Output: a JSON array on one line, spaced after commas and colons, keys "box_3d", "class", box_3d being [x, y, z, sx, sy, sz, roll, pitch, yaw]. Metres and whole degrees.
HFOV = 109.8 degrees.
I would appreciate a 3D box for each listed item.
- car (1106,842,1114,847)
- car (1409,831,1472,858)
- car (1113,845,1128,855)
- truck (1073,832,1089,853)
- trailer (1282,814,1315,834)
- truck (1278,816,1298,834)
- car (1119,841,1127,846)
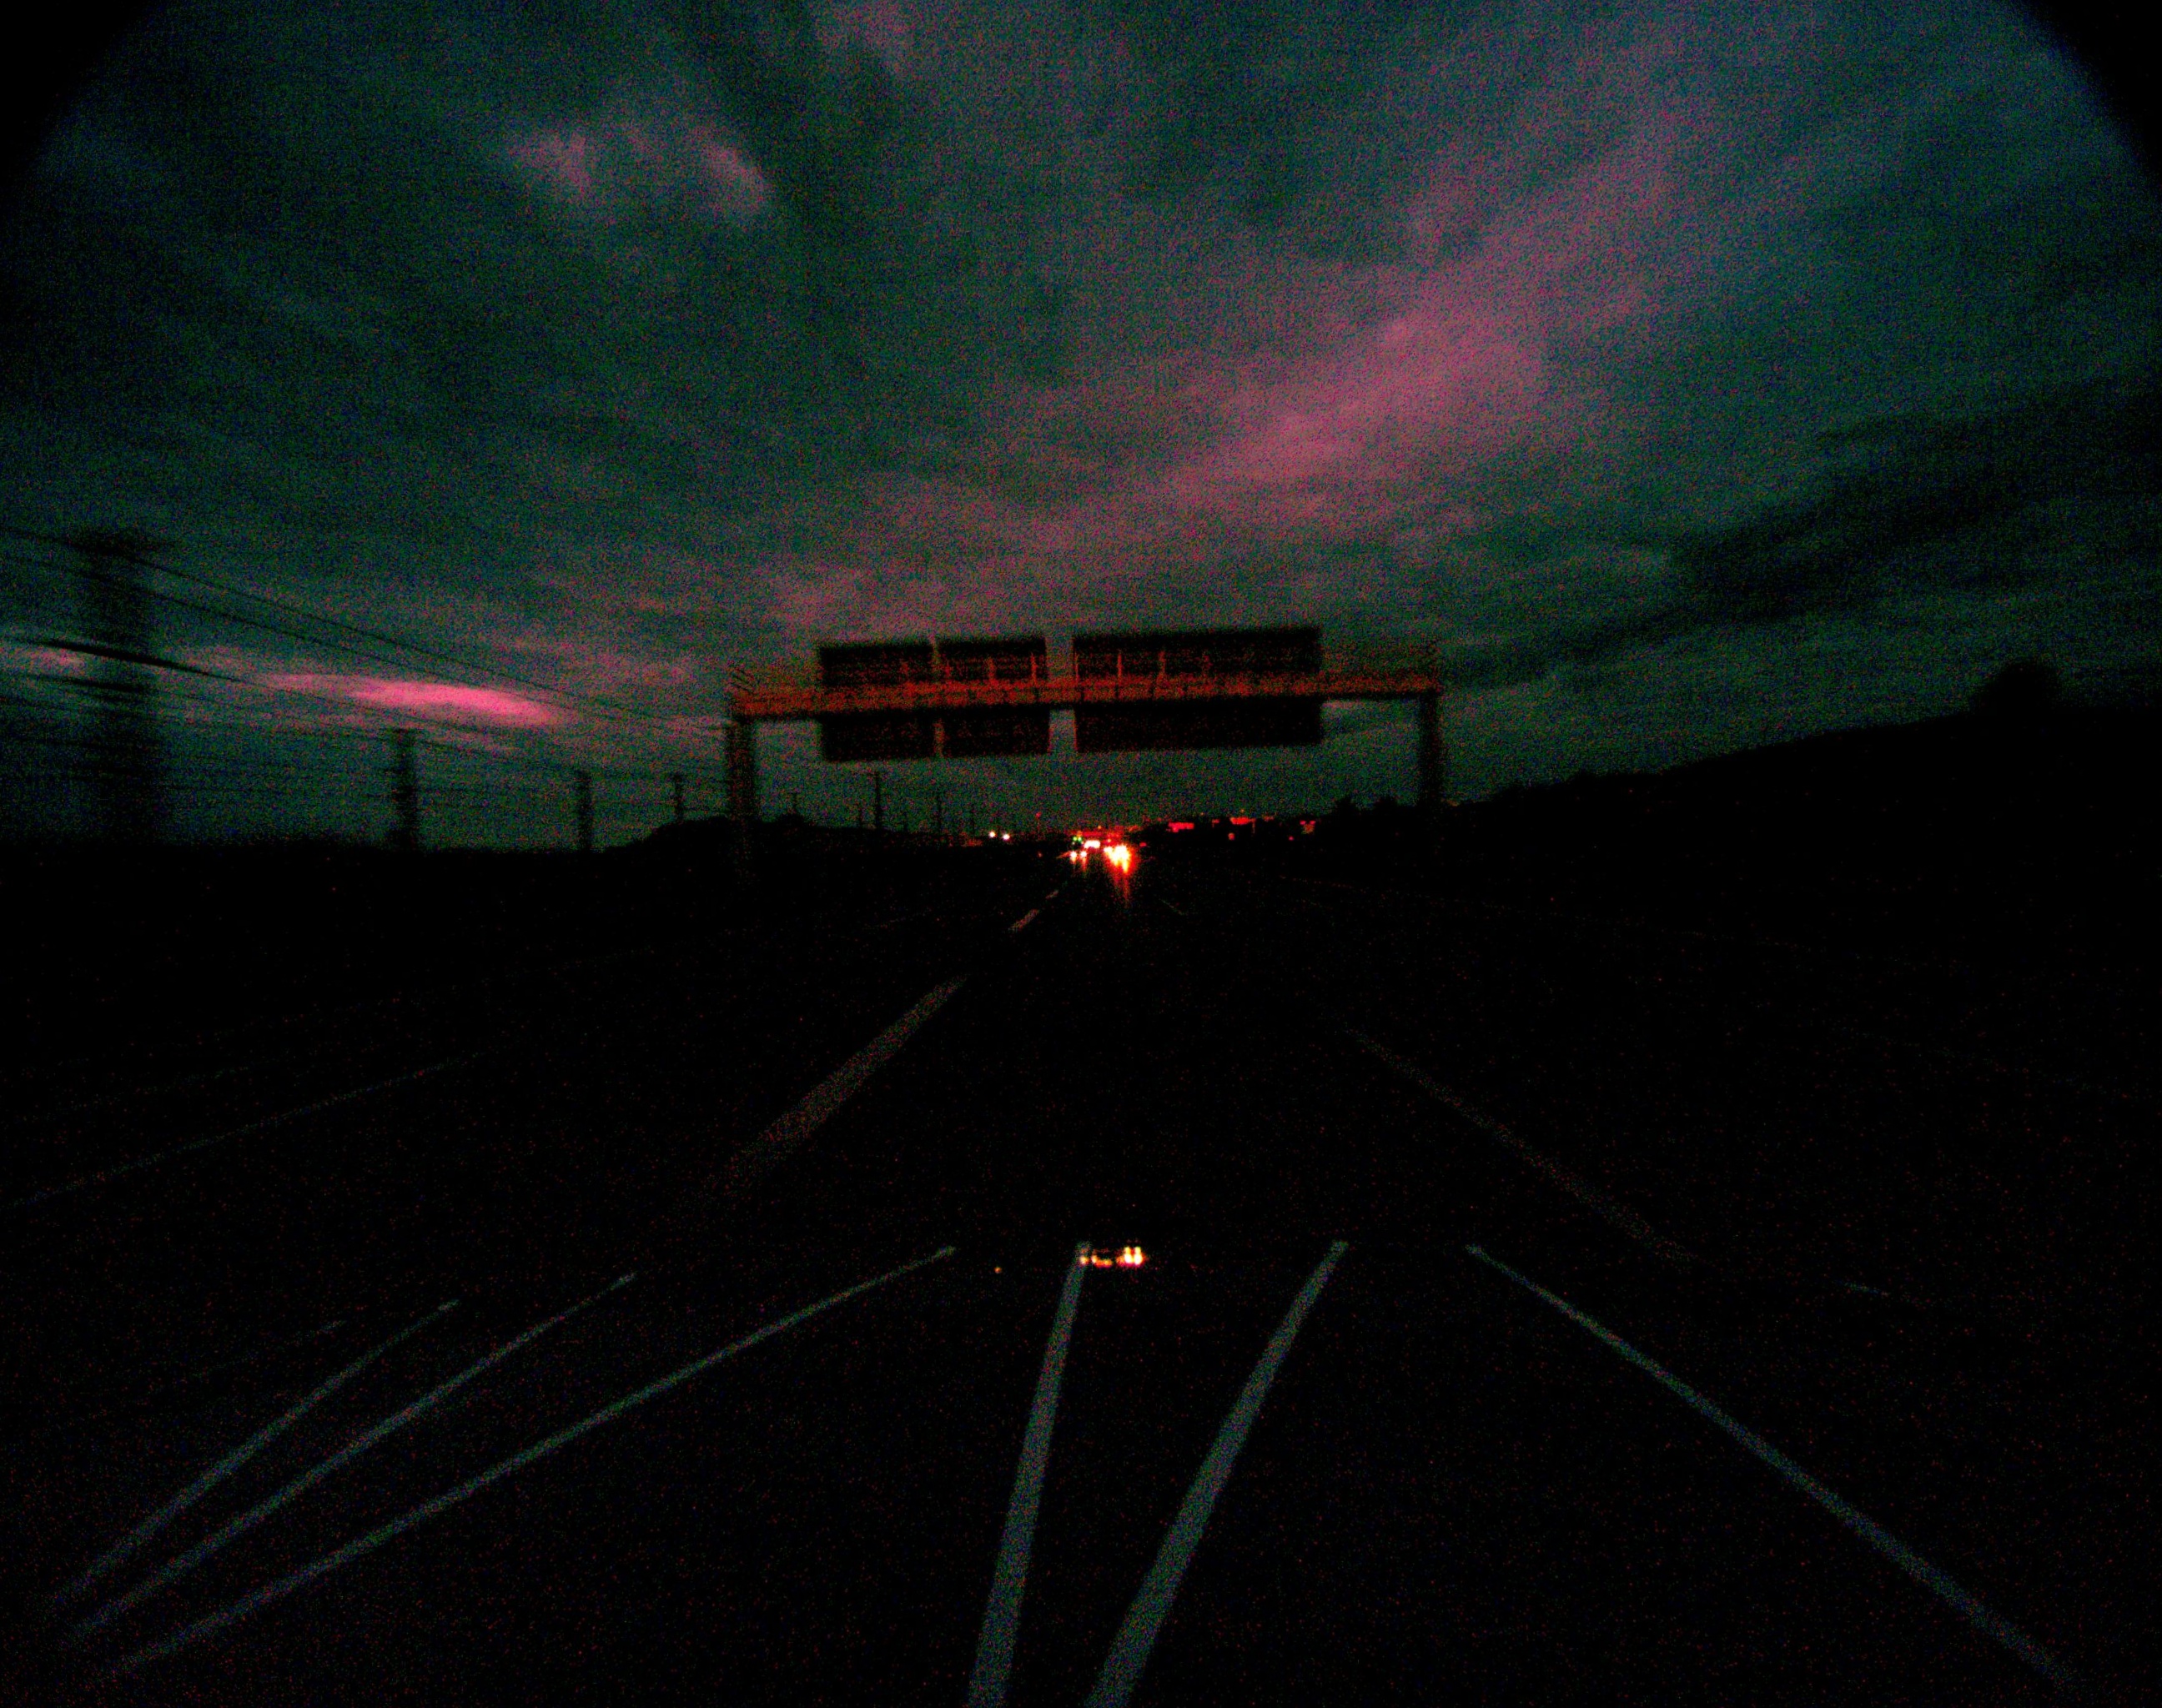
[{"box_3d": [8.141, -2.708, 214.160, 1.998, 1.342, 4.175, -3, 1, 1], "class": "car"}, {"box_3d": [21.469, -0.597, 45.554, 1.693, 1.393, 4.428, -4, 2, 1], "class": "car"}, {"box_3d": [5.700, -0.564, 109.922, 1.998, 1.342, 4.175, 2, 1, 1], "class": "car"}, {"box_3d": [0.047, -2.381, 160.649, 3.060, 4.047, 10.521, 0, -1, 1], "class": "truck"}, {"box_3d": [48.821, -6.668, 170.948, 2.698, 4.048, 12.485, -3, 1, -4], "class": "trailer"}, {"box_3d": [48.291, -6.751, 177.485, 2.698, 4.048, 5.475, -3, 1, -4], "class": "truck"}, {"box_3d": [11.555, -2.870, 209.235, 1.999, 1.342, 4.174, -3, 1, -1], "class": "car"}]
